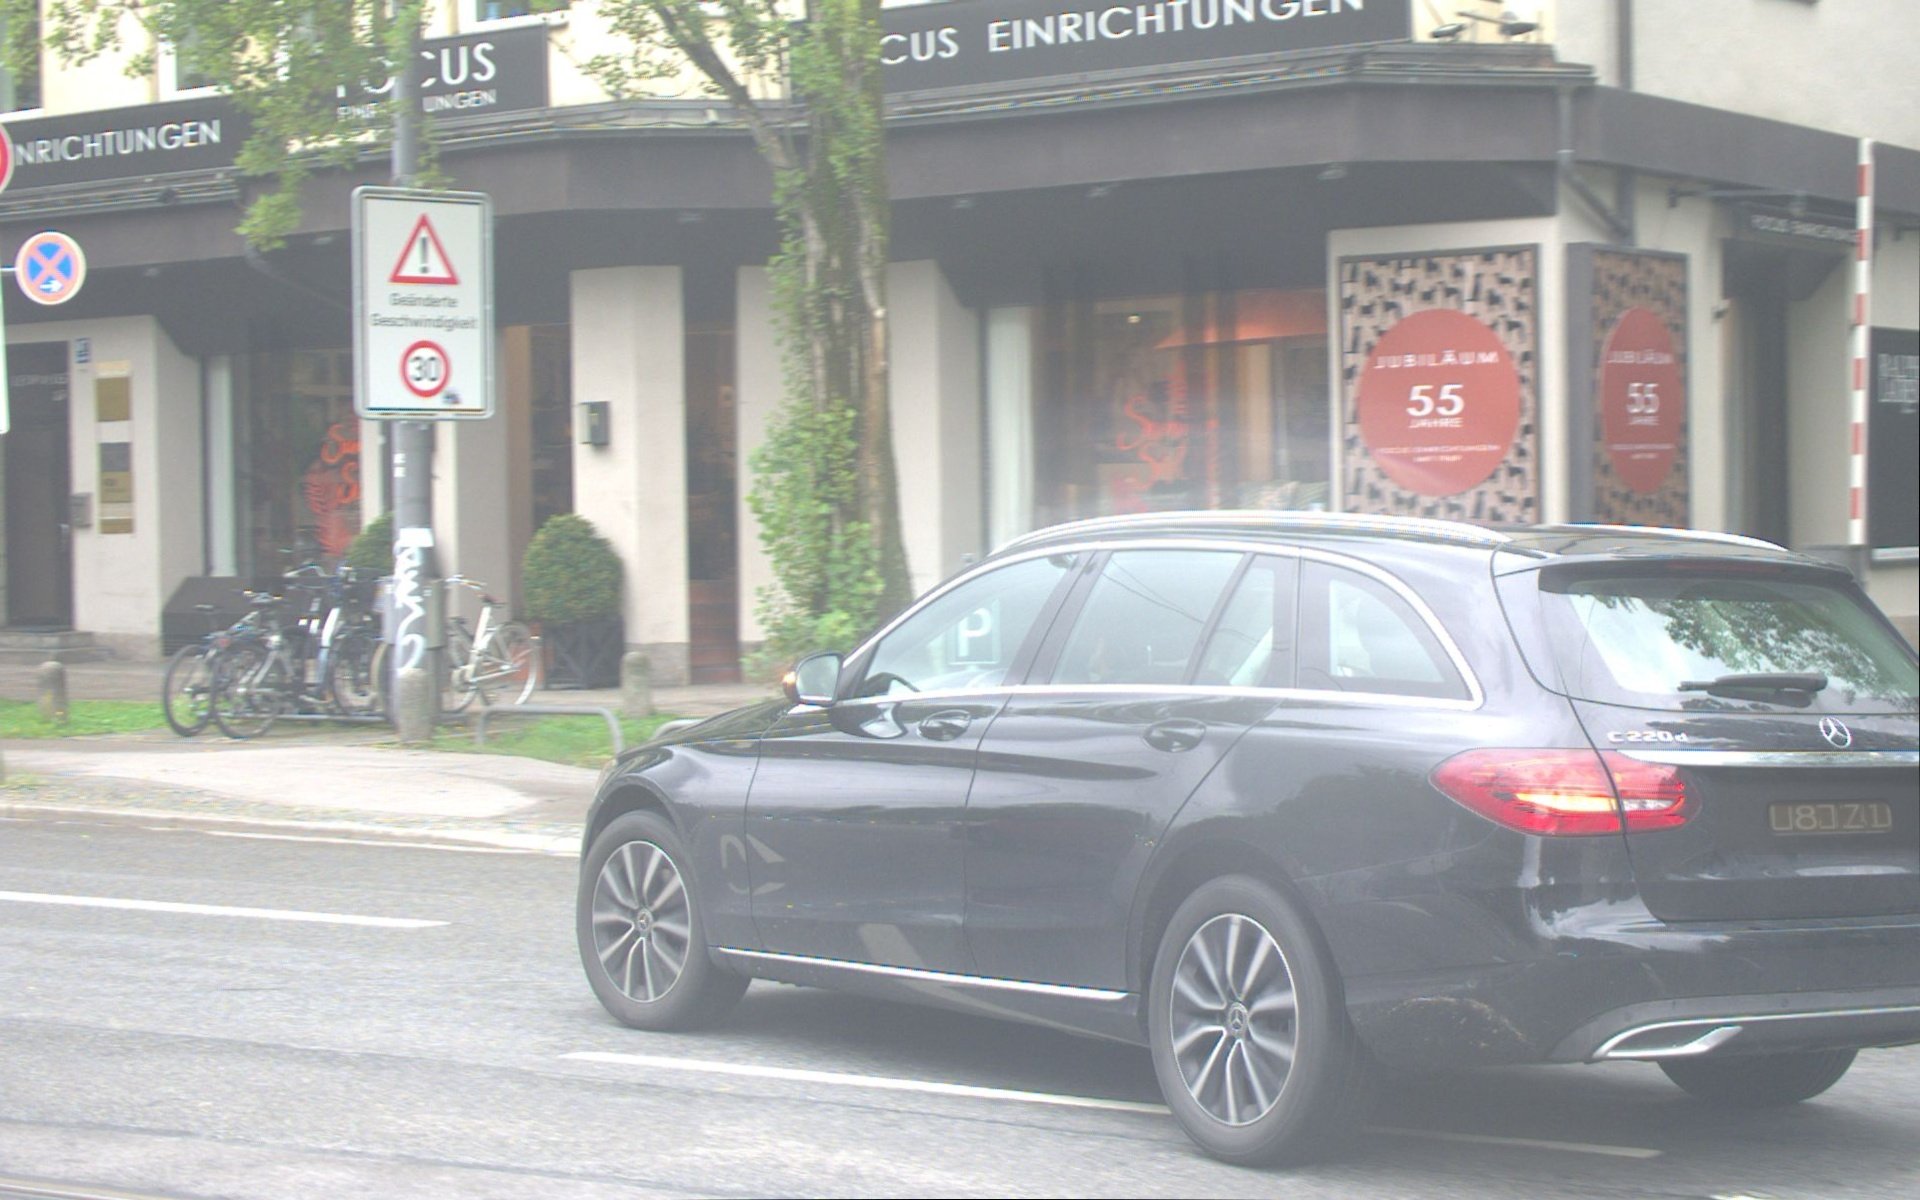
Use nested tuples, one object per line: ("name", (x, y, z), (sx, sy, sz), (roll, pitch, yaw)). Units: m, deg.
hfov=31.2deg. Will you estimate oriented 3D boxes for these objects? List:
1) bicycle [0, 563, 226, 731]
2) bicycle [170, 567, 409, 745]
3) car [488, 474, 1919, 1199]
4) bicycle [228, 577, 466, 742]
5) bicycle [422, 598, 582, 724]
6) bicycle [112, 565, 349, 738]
("bicycle", (-6.408, 0.333, 25.950), (0.495, 1.181, 1.886), (0, 2, 33))
("bicycle", (-4.787, 0.379, 24.673), (0.495, 1.181, 1.886), (0, 2, 33))
("car", (0.654, 0.451, 9.053), (1.864, 1.543, 4.703), (-2, 3, -34))
("bicycle", (-4.330, 0.403, 24.408), (0.495, 1.078, 1.886), (0, 2, 33))
("bicycle", (-3.439, 0.449, 25.897), (0.388, 0.880, 1.369), (0, 2, 33))
("bicycle", (-5.312, 0.354, 25.147), (0.495, 1.181, 1.886), (0, 2, 33))
